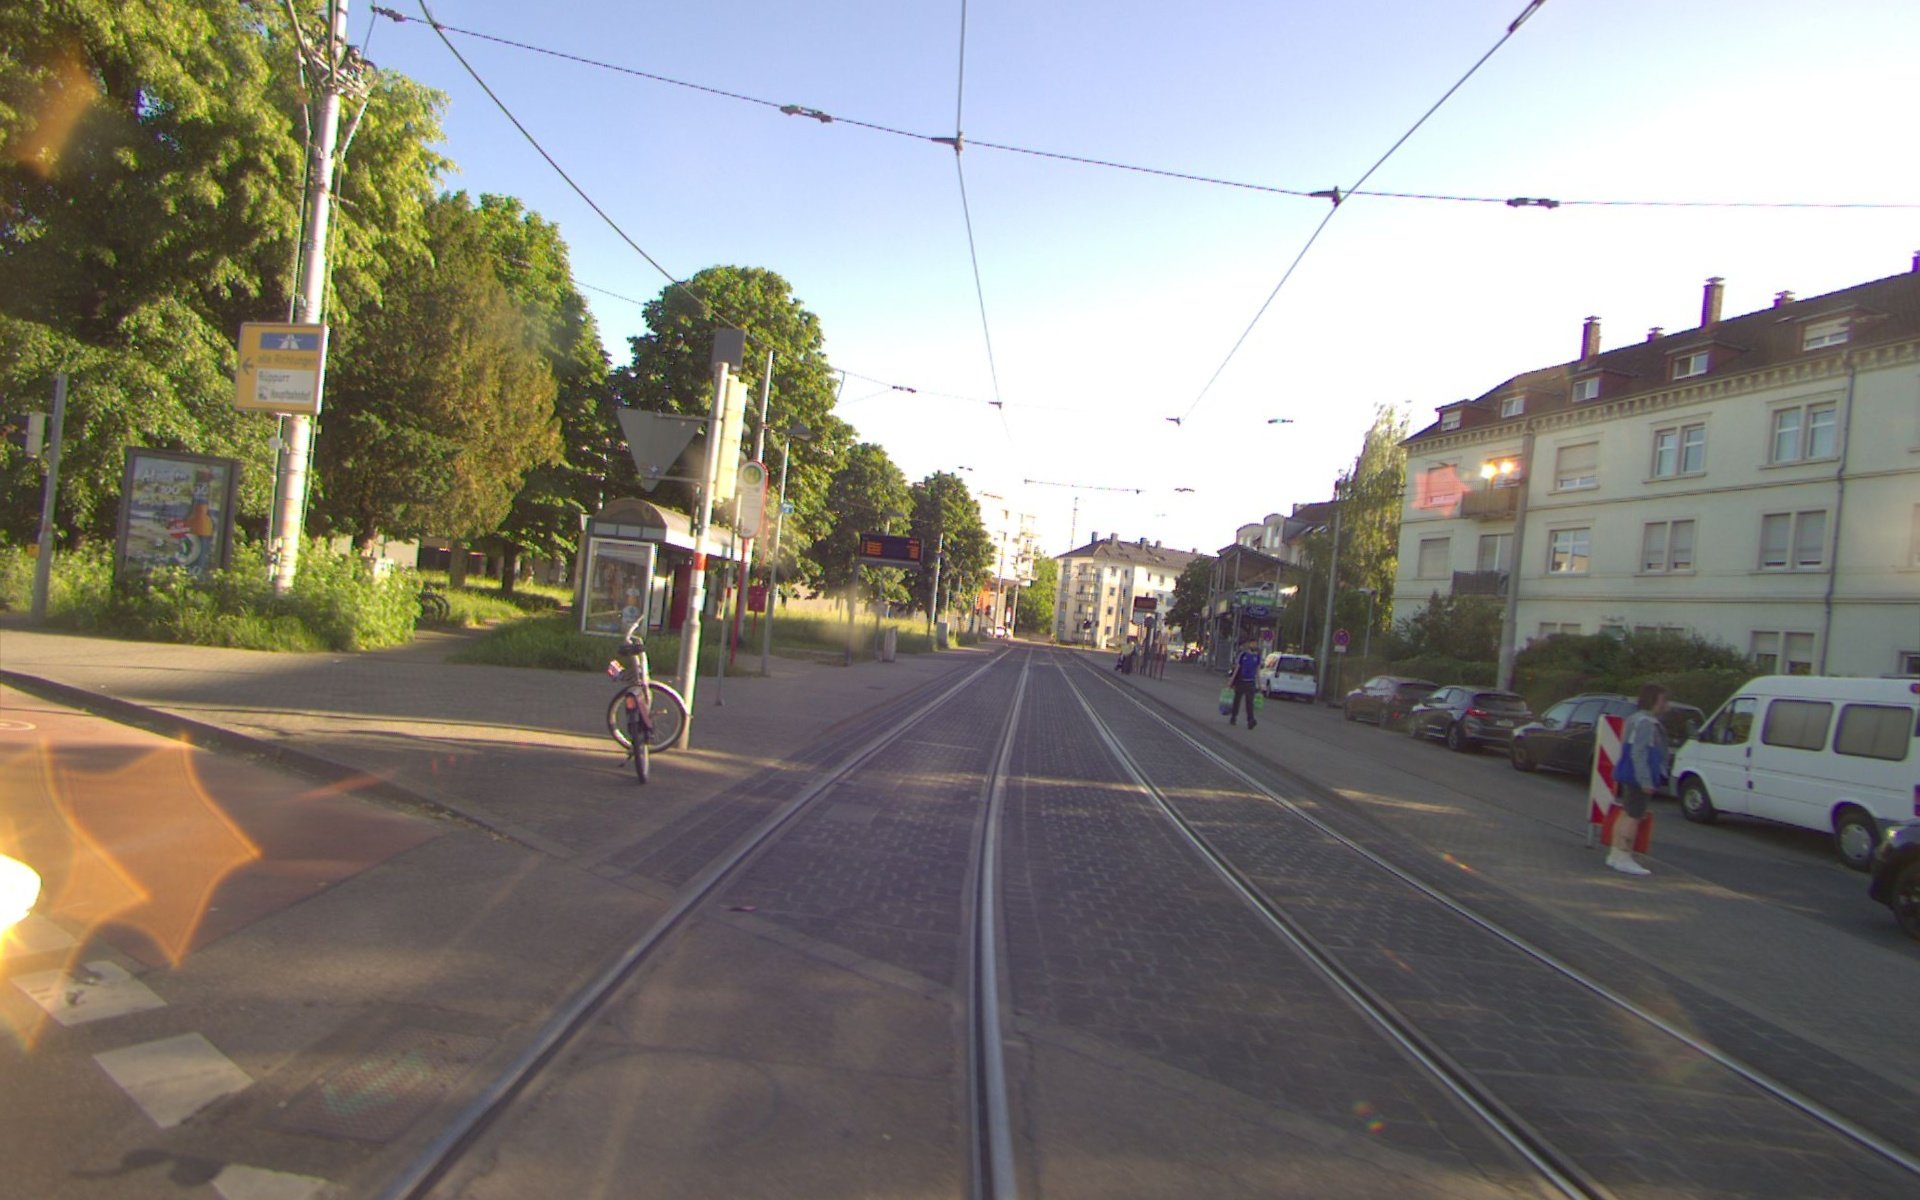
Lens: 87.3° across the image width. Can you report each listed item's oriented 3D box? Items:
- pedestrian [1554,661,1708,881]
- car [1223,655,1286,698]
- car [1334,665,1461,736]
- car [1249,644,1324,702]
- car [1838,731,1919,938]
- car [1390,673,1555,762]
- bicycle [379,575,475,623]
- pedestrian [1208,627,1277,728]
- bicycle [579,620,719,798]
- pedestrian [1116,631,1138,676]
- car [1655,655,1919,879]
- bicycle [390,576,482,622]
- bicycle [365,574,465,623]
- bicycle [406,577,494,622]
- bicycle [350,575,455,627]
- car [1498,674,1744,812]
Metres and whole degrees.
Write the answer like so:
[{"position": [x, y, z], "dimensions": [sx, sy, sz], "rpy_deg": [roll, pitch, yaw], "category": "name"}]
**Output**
[{"position": [5.702, 1.432, 8.569], "dimensions": [0.720, 1.714, 0.695], "rpy_deg": [6, 1, -30], "category": "pedestrian"}, {"position": [13.455, 3.483, 46.202], "dimensions": [1.772, 1.560, 3.941], "rpy_deg": [6, -1, 4], "category": "car"}, {"position": [12.213, 2.760, 28.365], "dimensions": [1.772, 1.494, 3.940], "rpy_deg": [6, -1, 1], "category": "car"}, {"position": [13.200, 2.928, 40.933], "dimensions": [1.772, 1.951, 3.941], "rpy_deg": [6, 0, 4], "category": "car"}, {"position": [8.066, 1.854, 6.118], "dimensions": [1.773, 1.459, 3.938], "rpy_deg": [6, -1, -2], "category": "car"}, {"position": [11.835, 2.663, 23.546], "dimensions": [1.772, 1.494, 3.940], "rpy_deg": [6, -1, 1], "category": "car"}, {"position": [-12.749, -0.022, 24.114], "dimensions": [1.853, 0.917, 0.658], "rpy_deg": [7, 0, -14], "category": "bicycle"}, {"position": [5.500, 1.494, 19.639], "dimensions": [0.943, 1.815, 0.996], "rpy_deg": [6, 0, 5], "category": "pedestrian"}, {"position": [-2.404, 0.775, 7.770], "dimensions": [0.815, 1.072, 1.875], "rpy_deg": [6, 0, -18], "category": "bicycle"}, {"position": [7.171, 2.288, 43.231], "dimensions": [0.668, 1.815, 0.996], "rpy_deg": [6, 0, 5], "category": "pedestrian"}, {"position": [11.256, 1.988, 12.599], "dimensions": [2.057, 2.304, 4.310], "rpy_deg": [7, -2, 4], "category": "car"}, {"position": [-13.025, -0.025, 25.045], "dimensions": [1.853, 0.917, 0.658], "rpy_deg": [7, 0, -14], "category": "bicycle"}, {"position": [-12.592, -0.031, 23.298], "dimensions": [1.853, 0.917, 0.658], "rpy_deg": [7, 0, -14], "category": "bicycle"}, {"position": [-13.134, -0.007, 25.948], "dimensions": [1.853, 0.917, 0.658], "rpy_deg": [7, 0, -14], "category": "bicycle"}, {"position": [-12.331, 0.030, 22.298], "dimensions": [1.853, 0.917, 0.658], "rpy_deg": [7, 0, -14], "category": "bicycle"}, {"position": [11.602, 2.425, 18.026], "dimensions": [1.772, 1.784, 3.892], "rpy_deg": [6, -1, 2], "category": "car"}]
